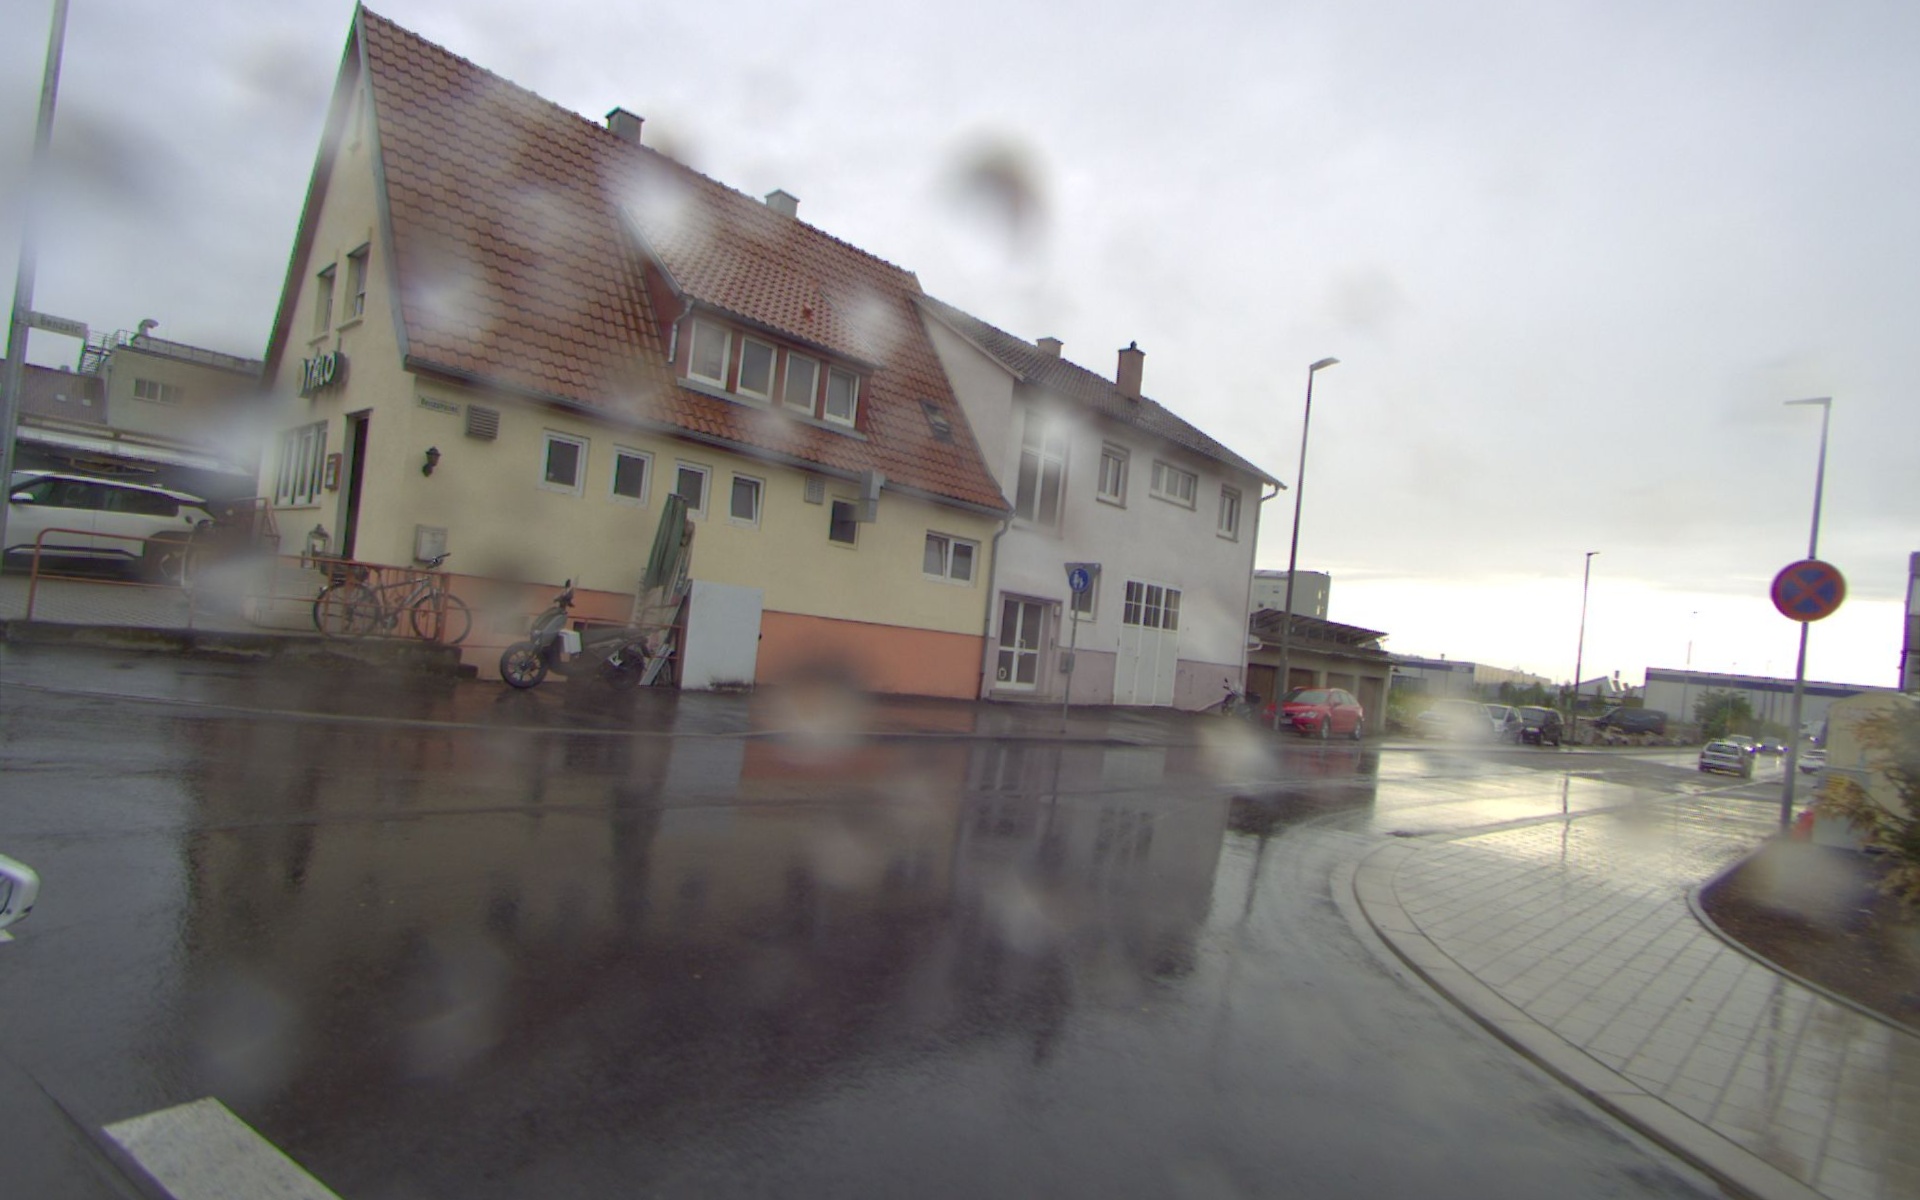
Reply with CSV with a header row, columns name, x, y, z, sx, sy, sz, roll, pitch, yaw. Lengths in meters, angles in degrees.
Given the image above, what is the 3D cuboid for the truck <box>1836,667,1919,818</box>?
name,x,y,z,sx,sy,sz,roll,pitch,yaw
truck,21.645,3.035,18.076,2.597,3.397,14.433,9,-2,16

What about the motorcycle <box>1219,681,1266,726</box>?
name,x,y,z,sx,sy,sz,roll,pitch,yaw
motorcycle,8.171,3.001,29.039,0.482,1.164,2.034,6,-3,38

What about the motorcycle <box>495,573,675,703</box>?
name,x,y,z,sx,sy,sz,roll,pitch,yaw
motorcycle,-4.809,0.524,13.029,0.483,1.473,2.029,5,-2,44

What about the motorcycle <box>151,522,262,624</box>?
name,x,y,z,sx,sy,sz,roll,pitch,yaw
motorcycle,-9.793,-0.373,13.050,1.969,1.109,0.488,7,-1,36

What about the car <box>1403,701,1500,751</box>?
name,x,y,z,sx,sy,sz,roll,pitch,yaw
car,19.178,4.923,39.146,4.172,1.527,1.975,9,-1,-44

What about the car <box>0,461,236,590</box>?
name,x,y,z,sx,sy,sz,roll,pitch,yaw
car,-13.919,-1.170,15.339,1.830,1.630,4.222,5,0,30

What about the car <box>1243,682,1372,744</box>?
name,x,y,z,sx,sy,sz,roll,pitch,yaw
car,10.010,3.228,28.798,1.972,1.393,4.240,6,-1,41

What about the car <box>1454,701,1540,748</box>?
name,x,y,z,sx,sy,sz,roll,pitch,yaw
car,23.423,5.427,43.816,4.172,1.608,1.975,8,-1,-44

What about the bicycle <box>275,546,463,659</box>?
name,x,y,z,sx,sy,sz,roll,pitch,yaw
bicycle,-7.001,0.055,11.990,1.766,1.108,0.483,9,-2,-45

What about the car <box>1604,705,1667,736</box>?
name,x,y,z,sx,sy,sz,roll,pitch,yaw
car,65.012,11.590,96.824,4.717,2.310,1.994,5,-4,40

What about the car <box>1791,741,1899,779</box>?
name,x,y,z,sx,sy,sz,roll,pitch,yaw
car,49.697,8.973,56.524,4.470,1.454,1.999,7,-2,-7

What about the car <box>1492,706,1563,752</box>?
name,x,y,z,sx,sy,sz,roll,pitch,yaw
car,26.929,6.132,47.713,1.973,1.803,3.982,5,-3,42

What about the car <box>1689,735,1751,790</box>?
name,x,y,z,sx,sy,sz,roll,pitch,yaw
car,34.154,7.254,45.286,1.969,2.037,3.989,6,-2,36
